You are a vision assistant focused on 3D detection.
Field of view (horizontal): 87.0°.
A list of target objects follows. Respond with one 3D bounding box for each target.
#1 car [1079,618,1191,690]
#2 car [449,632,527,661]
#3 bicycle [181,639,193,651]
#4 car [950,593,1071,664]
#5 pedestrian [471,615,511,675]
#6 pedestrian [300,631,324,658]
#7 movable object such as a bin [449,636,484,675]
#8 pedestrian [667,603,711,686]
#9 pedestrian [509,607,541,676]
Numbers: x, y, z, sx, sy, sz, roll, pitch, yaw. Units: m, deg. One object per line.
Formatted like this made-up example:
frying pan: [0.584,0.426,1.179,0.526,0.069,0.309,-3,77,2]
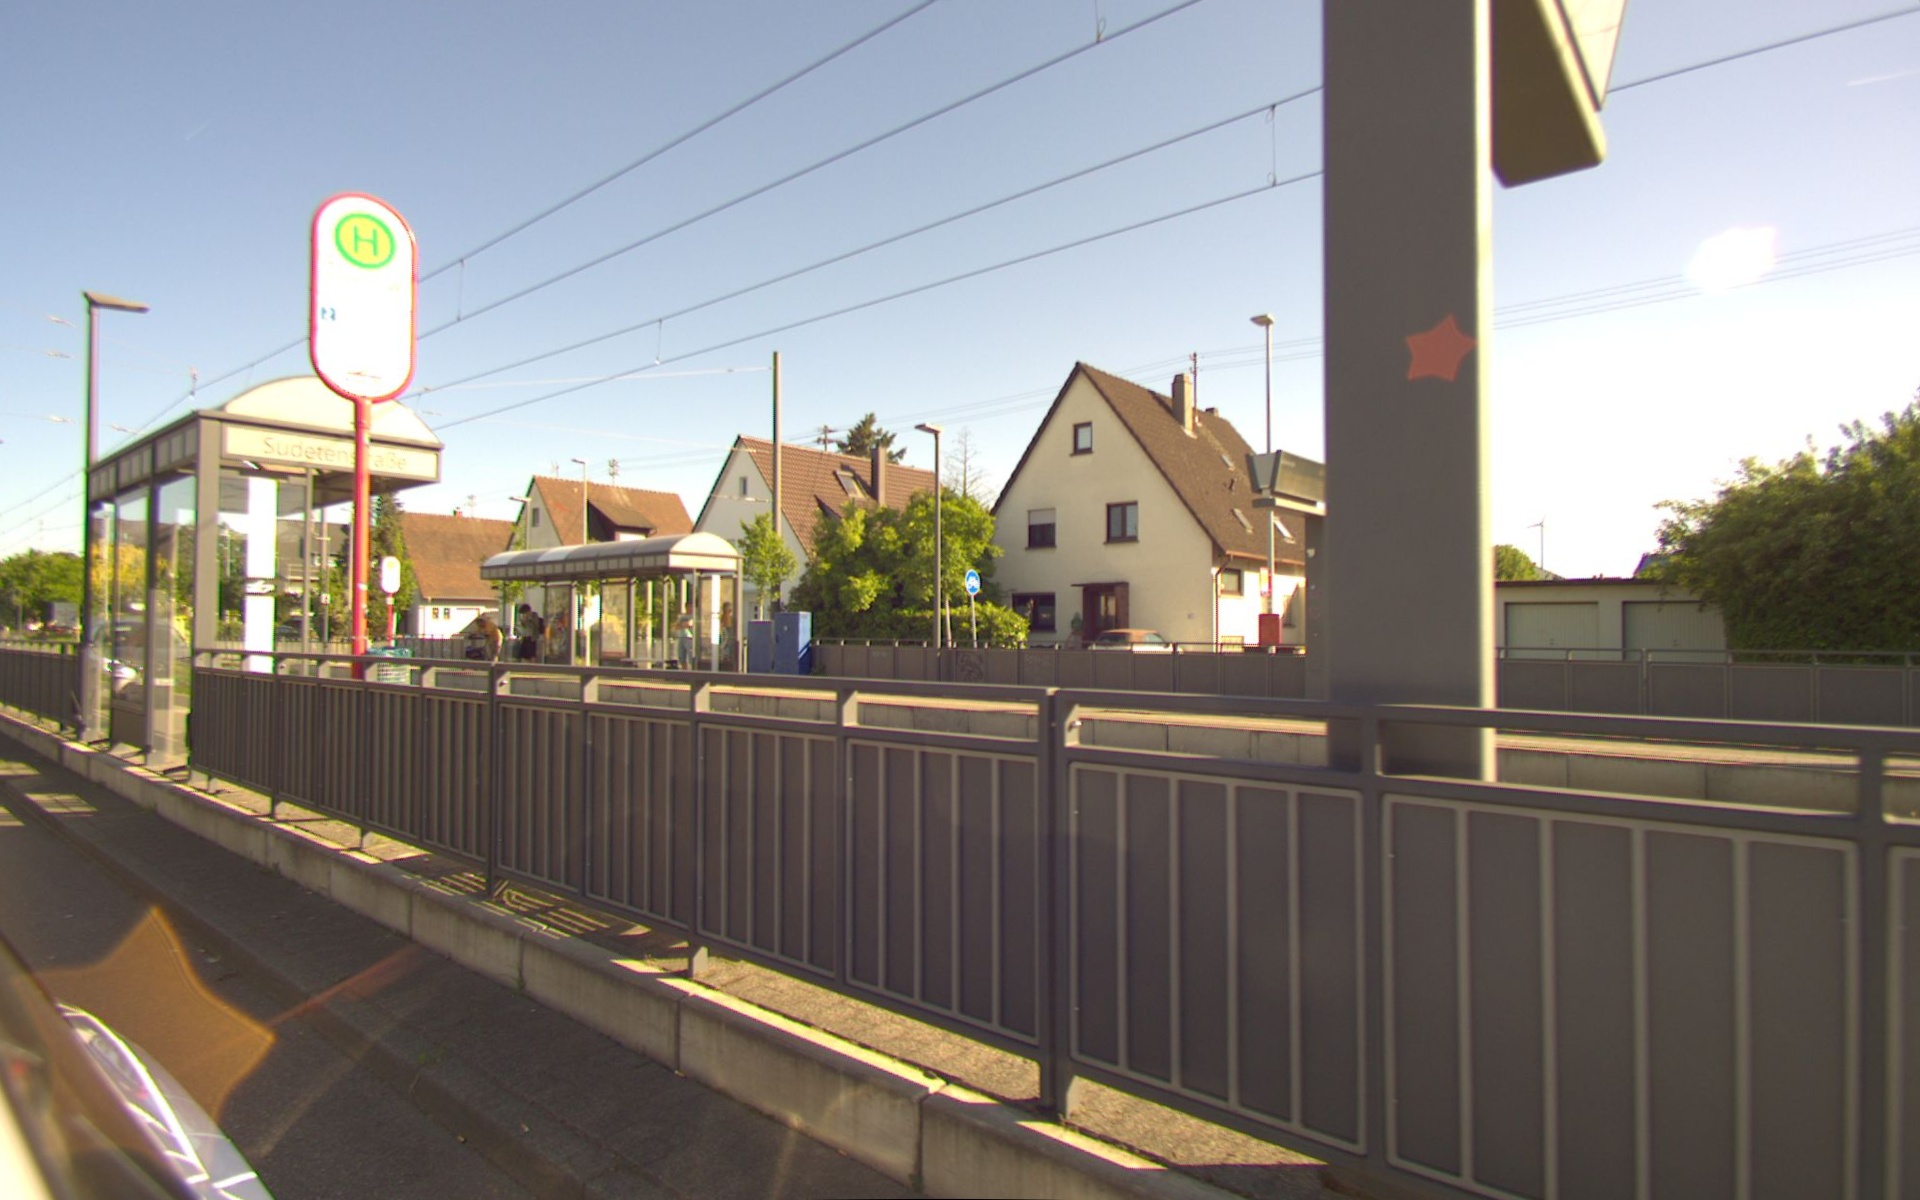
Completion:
car: [5.001,1.453,28.575,1.794,1.820,3.814,-1,0,33]
car: [-25.629,2.481,54.875,5.159,1.461,1.914,-1,-2,41]
bicycle: [-65.932,3.844,86.319,1.747,0.949,0.419,-1,-1,41]
car: [1.584,0.801,30.247,1.927,1.984,3.956,-1,0,33]
pedestrian: [-12.304,1.177,26.551,0.747,1.547,0.669,-2,-3,36]
pedestrian: [-40.131,2.726,62.639,1.085,1.653,0.955,-2,-3,40]
movable object such as a bin: [-12.712,1.427,26.066,0.740,0.995,0.541,-2,-3,36]
pedestrian: [-5.701,0.948,21.310,0.771,1.709,0.495,-2,-5,41]
pedestrian: [-11.162,1.062,25.975,0.580,1.721,0.515,-2,-3,36]
